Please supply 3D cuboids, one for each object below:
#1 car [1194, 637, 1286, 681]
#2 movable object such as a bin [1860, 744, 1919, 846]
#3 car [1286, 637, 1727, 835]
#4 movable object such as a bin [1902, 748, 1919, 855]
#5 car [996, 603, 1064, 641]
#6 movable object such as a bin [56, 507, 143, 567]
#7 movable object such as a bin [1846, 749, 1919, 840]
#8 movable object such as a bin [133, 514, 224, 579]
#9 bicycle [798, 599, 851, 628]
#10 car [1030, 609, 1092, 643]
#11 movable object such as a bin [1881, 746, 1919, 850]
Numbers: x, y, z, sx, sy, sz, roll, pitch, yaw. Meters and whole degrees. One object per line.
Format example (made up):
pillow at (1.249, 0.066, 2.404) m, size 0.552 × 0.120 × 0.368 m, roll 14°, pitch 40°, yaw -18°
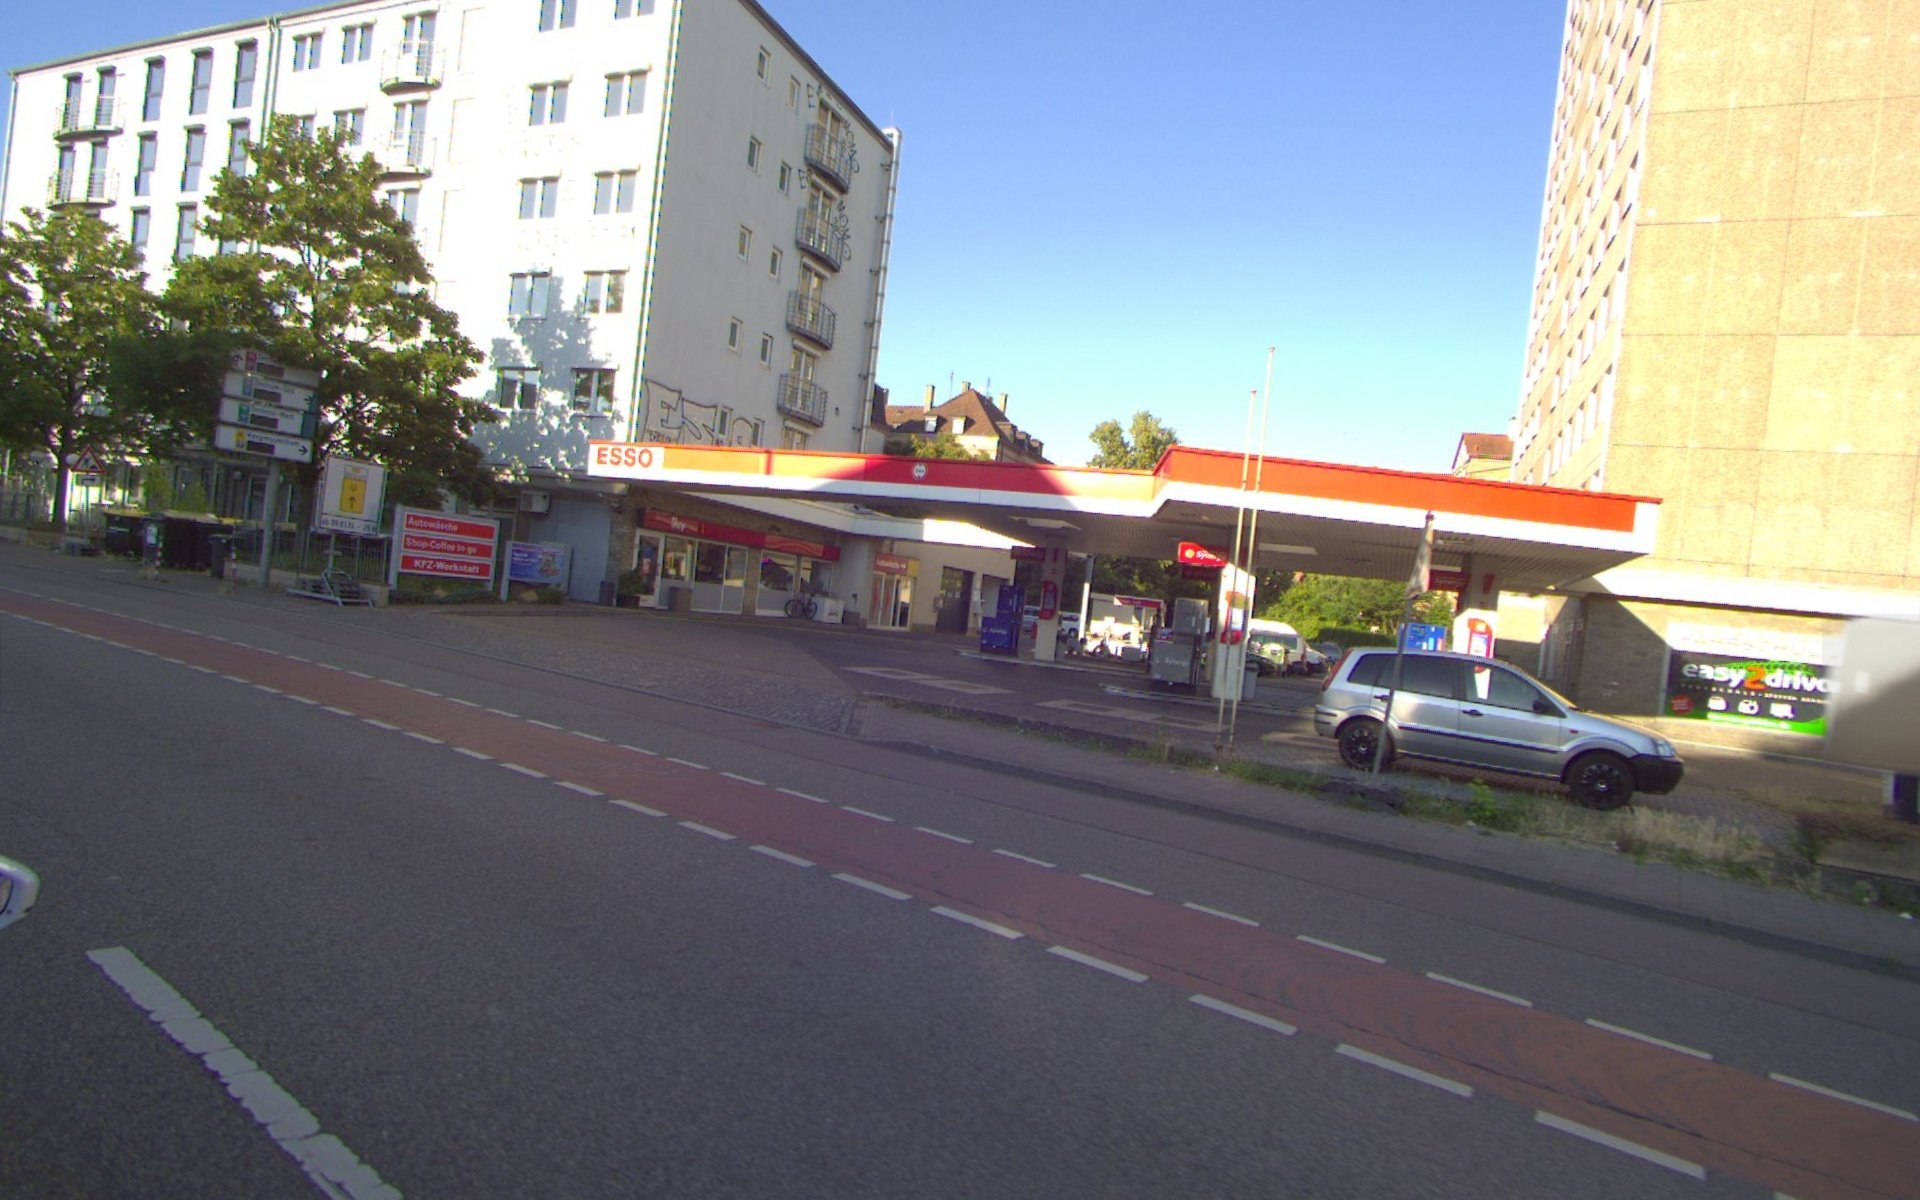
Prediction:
car at (11.827, 2.461, 42.467) m, size 3.377 × 1.398 × 1.573 m, roll 7°, pitch 0°, yaw 26°
movable object such as a bin at (10.357, 2.137, 11.051) m, size 0.541 × 1.018 × 0.540 m, roll 6°, pitch -1°, yaw 34°
car at (6.420, 1.499, 12.202) m, size 4.281 × 1.549 × 1.773 m, roll 7°, pitch 0°, yaw 32°
movable object such as a bin at (9.724, 2.008, 9.706) m, size 0.706 × 1.018 × 0.654 m, roll 6°, pitch -1°, yaw 31°
car at (4.676, 1.486, 66.902) m, size 3.927 × 2.039 × 1.999 m, roll 7°, pitch 0°, yaw 23°
movable object such as a bin at (-23.848, -1.738, 27.880) m, size 1.523 × 1.403 × 1.462 m, roll 7°, pitch 0°, yaw 36°
movable object such as a bin at (10.698, 2.226, 11.620) m, size 0.541 × 0.917 × 0.540 m, roll 6°, pitch -1°, yaw 34°
movable object such as a bin at (-20.686, -1.406, 26.625) m, size 1.523 × 1.472 × 1.462 m, roll 7°, pitch 0°, yaw 36°
bicycle at (-5.067, 0.515, 37.677) m, size 1.781 × 0.839 × 0.622 m, roll 8°, pitch 1°, yaw 8°
car at (7.432, 1.908, 74.002) m, size 3.927 × 2.039 × 1.999 m, roll 7°, pitch 0°, yaw 23°
movable object such as a bin at (10.040, 2.074, 10.440) m, size 0.541 × 1.018 × 0.540 m, roll 6°, pitch -1°, yaw 34°
